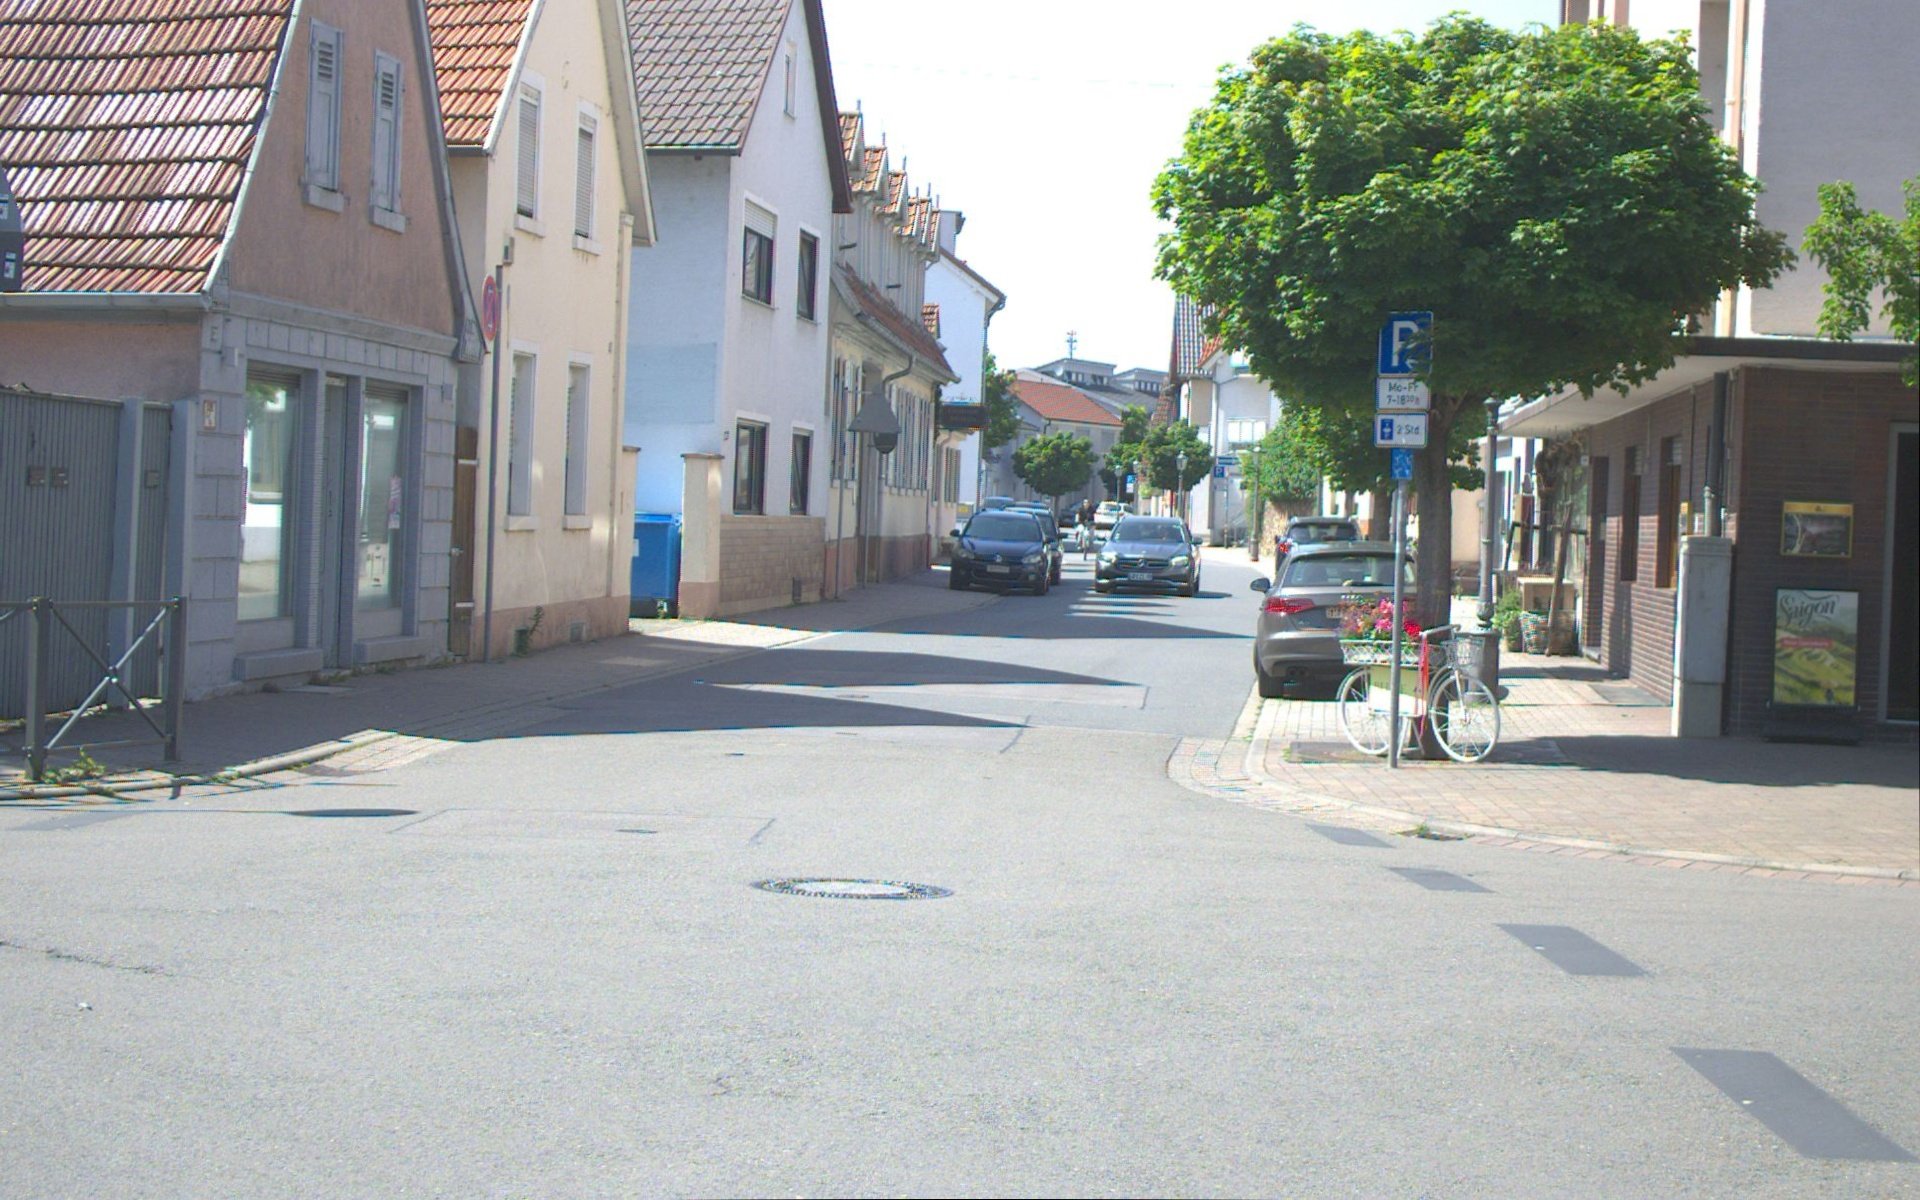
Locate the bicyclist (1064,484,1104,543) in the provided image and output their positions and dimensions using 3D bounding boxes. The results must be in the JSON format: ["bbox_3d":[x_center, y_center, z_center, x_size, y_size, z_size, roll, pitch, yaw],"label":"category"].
[{"bbox_3d":[3.487,-2.440,96.721,1.046,1.632,1.128,2,1,0],"label":"bicyclist"}]

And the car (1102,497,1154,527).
[{"bbox_3d":[9.553,-4.998,195.210,2.028,1.592,4.506,2,2,15],"label":"car"}]

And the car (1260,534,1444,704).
[{"bbox_3d":[3.690,0.134,32.214,1.576,1.449,3.485,2,1,7],"label":"car"}]

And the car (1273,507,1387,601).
[{"bbox_3d":[7.067,-0.913,65.894,2.043,1.683,4.841,2,2,5],"label":"car"}]

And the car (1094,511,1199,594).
[{"bbox_3d":[3.611,-0.921,66.326,1.909,1.476,4.844,2,1,3],"label":"car"}]

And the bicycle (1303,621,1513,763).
[{"bbox_3d":[3.067,0.621,23.616,1.413,0.894,0.464,2,2,42],"label":"bicycle"}]

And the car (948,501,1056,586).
[{"bbox_3d":[0.806,-1.065,63.663,1.663,1.471,4.134,2,2,5],"label":"car"}]

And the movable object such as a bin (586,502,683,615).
[{"bbox_3d":[-4.039,-0.516,42.642,1.102,1.361,0.389,2,1,9],"label":"movable object such as a bin"}]

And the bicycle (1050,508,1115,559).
[{"bbox_3d":[3.423,-1.888,96.725,1.623,1.366,3.926,2,2,-1],"label":"bicycle"}]
